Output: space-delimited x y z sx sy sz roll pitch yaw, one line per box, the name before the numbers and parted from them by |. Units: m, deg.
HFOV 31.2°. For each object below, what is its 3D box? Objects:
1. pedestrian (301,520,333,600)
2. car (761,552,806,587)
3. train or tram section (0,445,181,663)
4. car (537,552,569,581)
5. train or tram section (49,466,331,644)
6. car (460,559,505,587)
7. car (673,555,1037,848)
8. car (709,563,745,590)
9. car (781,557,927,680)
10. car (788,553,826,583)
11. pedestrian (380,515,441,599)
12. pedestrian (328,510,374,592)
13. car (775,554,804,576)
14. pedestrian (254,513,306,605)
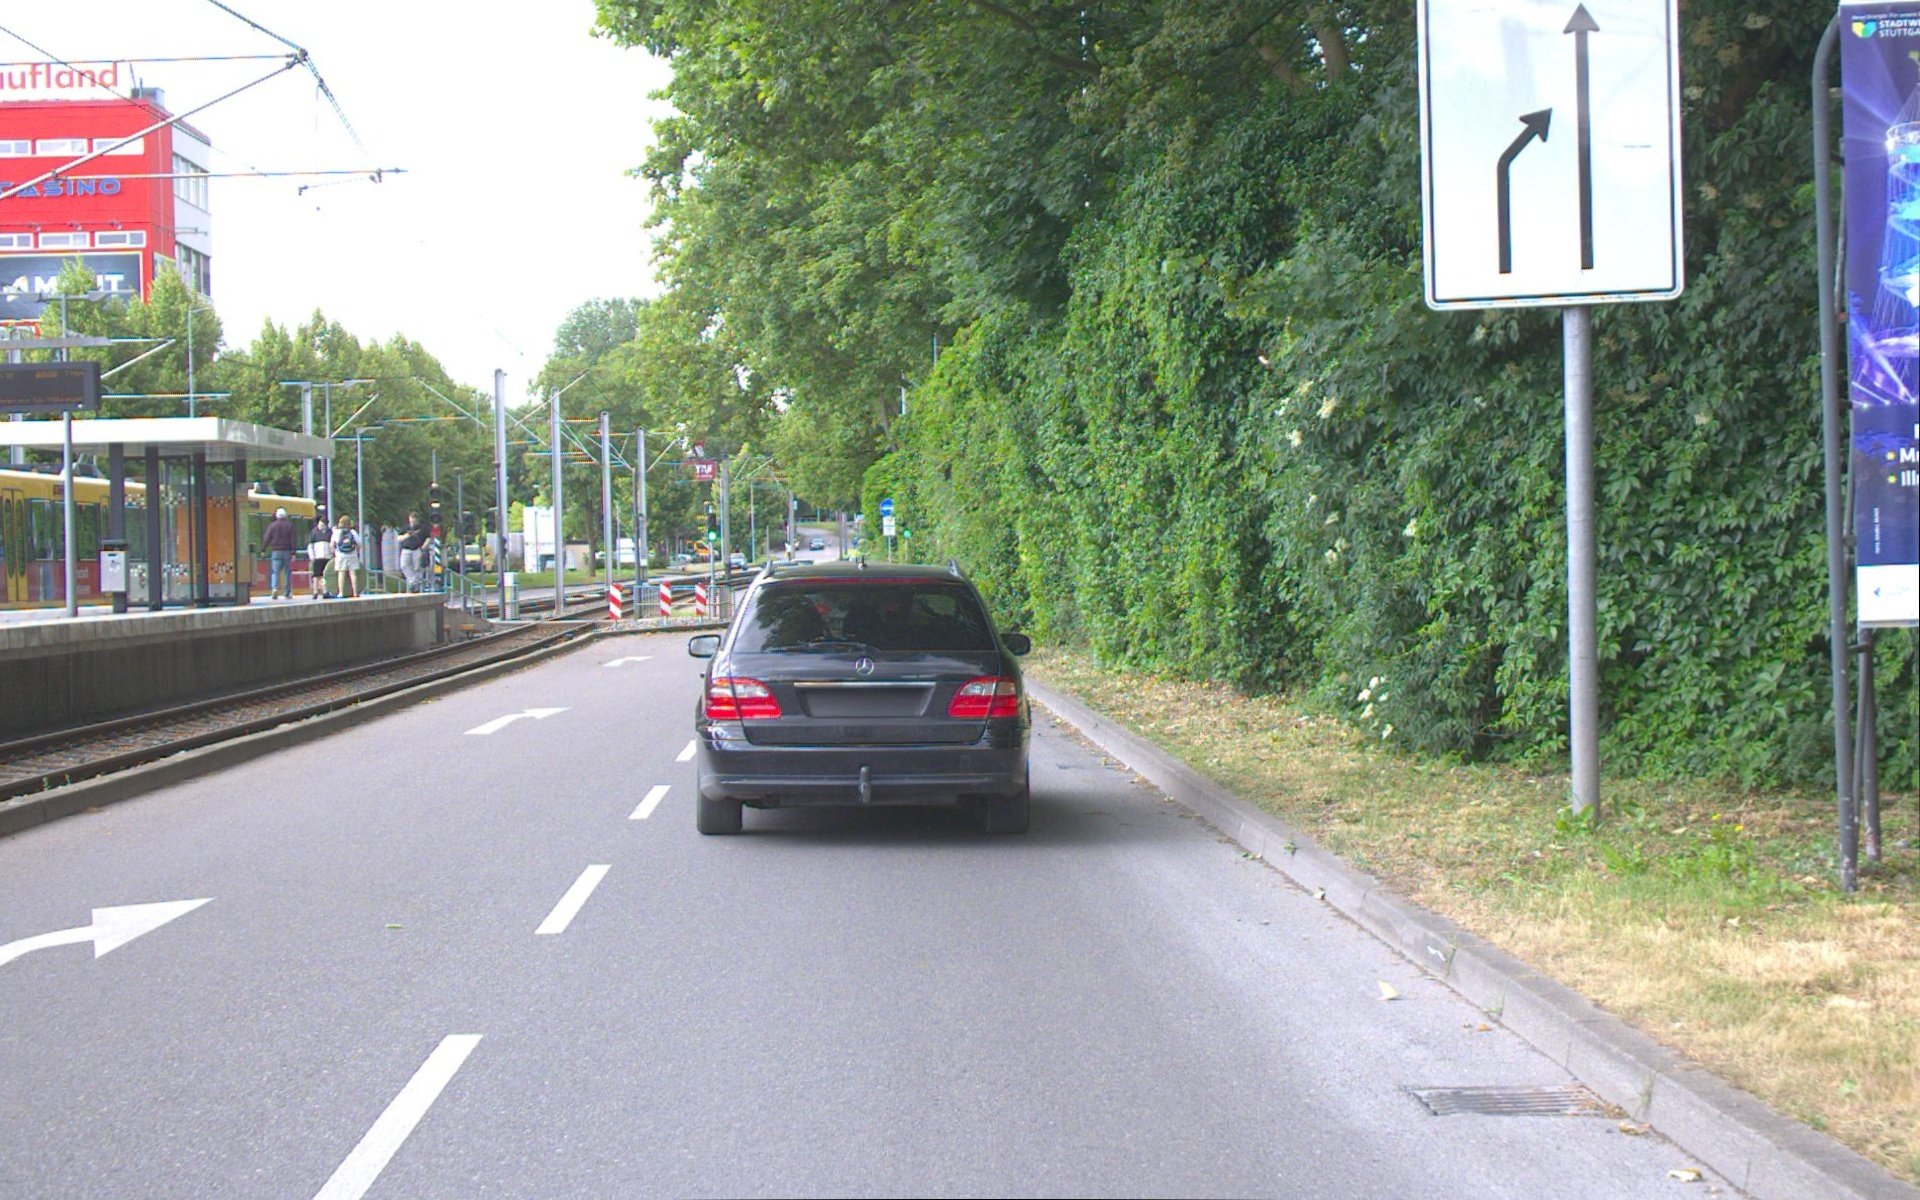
pedestrian | -12.112 -0.755 64.800 0.475 1.478 0.542 -3 0 -5
car | -7.981 -1.374 155.546 1.825 1.524 4.416 -1 1 0
train or tram section | -18.407 -0.831 65.549 2.756 3.869 18.632 -2 1 0
car | -29.834 -2.426 252.120 1.993 2.007 4.000 -3 0 -2
train or tram section | -18.483 -0.995 84.222 2.756 3.816 18.631 -1 0 0
car | -30.696 -1.743 221.160 1.993 1.737 4.987 -2 1 2
car | -0.586 0.495 19.627 1.833 1.473 4.416 0 0 -1
car | -13.367 -1.336 197.531 1.825 1.524 3.928 0 1 0
car | -1.433 0.206 45.480 1.825 1.524 4.416 0 1 -3
car | -7.946 -1.686 179.240 1.825 1.524 3.928 0 1 0
pedestrian | -11.260 -0.878 70.432 0.745 1.672 0.874 -2 0 42
pedestrian | -11.325 -0.913 63.948 0.520 1.477 0.580 -2 0 36
car | -11.992 -2.464 241.816 1.825 1.524 3.986 0 1 0
pedestrian | -12.752 -0.771 64.513 0.771 1.672 0.791 -3 0 -2
